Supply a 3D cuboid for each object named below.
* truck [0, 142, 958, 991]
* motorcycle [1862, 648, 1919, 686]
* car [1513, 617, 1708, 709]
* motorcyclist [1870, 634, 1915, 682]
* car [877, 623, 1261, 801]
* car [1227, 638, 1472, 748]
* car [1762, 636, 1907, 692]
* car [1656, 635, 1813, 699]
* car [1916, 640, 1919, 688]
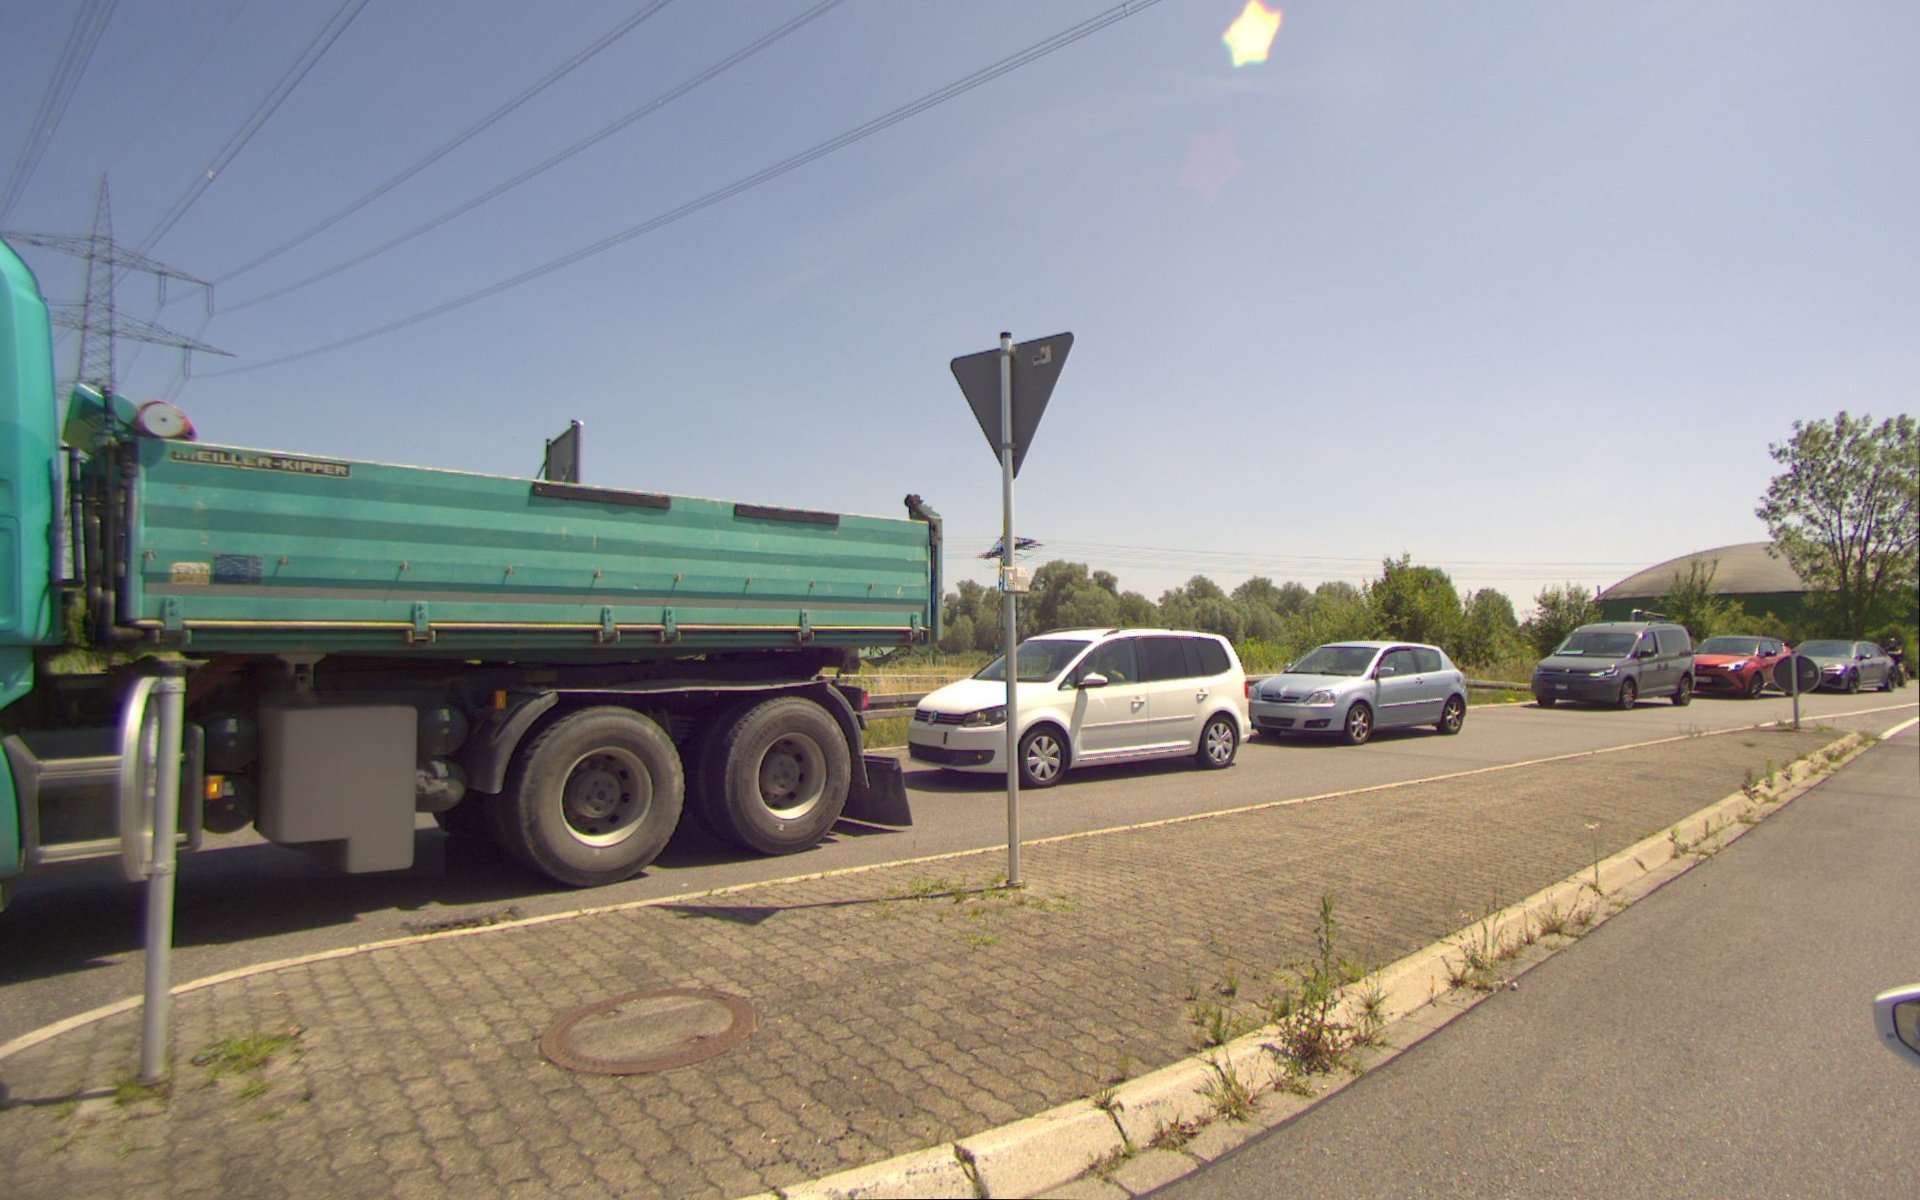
[{"bbox_3d":[-3.623,-0.063,6.275,7.557,3.517,2.577,2,-3,-44],"label":"truck"},{"bbox_3d":[29.729,2.123,32.048,2.402,1.138,0.777,2,-1,-32],"label":"motorcycle"},{"bbox_3d":[14.421,1.374,22.226,4.388,1.856,1.917,2,-3,-31],"label":"car"},{"bbox_3d":[29.784,1.841,32.077,1.118,1.515,0.777,2,-2,-31],"label":"motorcyclist"},{"bbox_3d":[1.344,1.107,11.421,4.289,1.642,1.760,1,-1,-36],"label":"car"},{"bbox_3d":[6.040,1.325,15.425,3.969,1.478,1.621,1,-2,-36],"label":"car"},{"bbox_3d":[25.395,1.848,29.138,4.754,1.479,1.832,2,-2,-31],"label":"car"},{"bbox_3d":[20.122,1.711,26.072,4.342,1.535,1.790,2,-3,-31],"label":"car"},{"bbox_3d":[35.520,2.263,35.103,4.193,1.660,1.696,1,0,-26],"label":"car"}]
